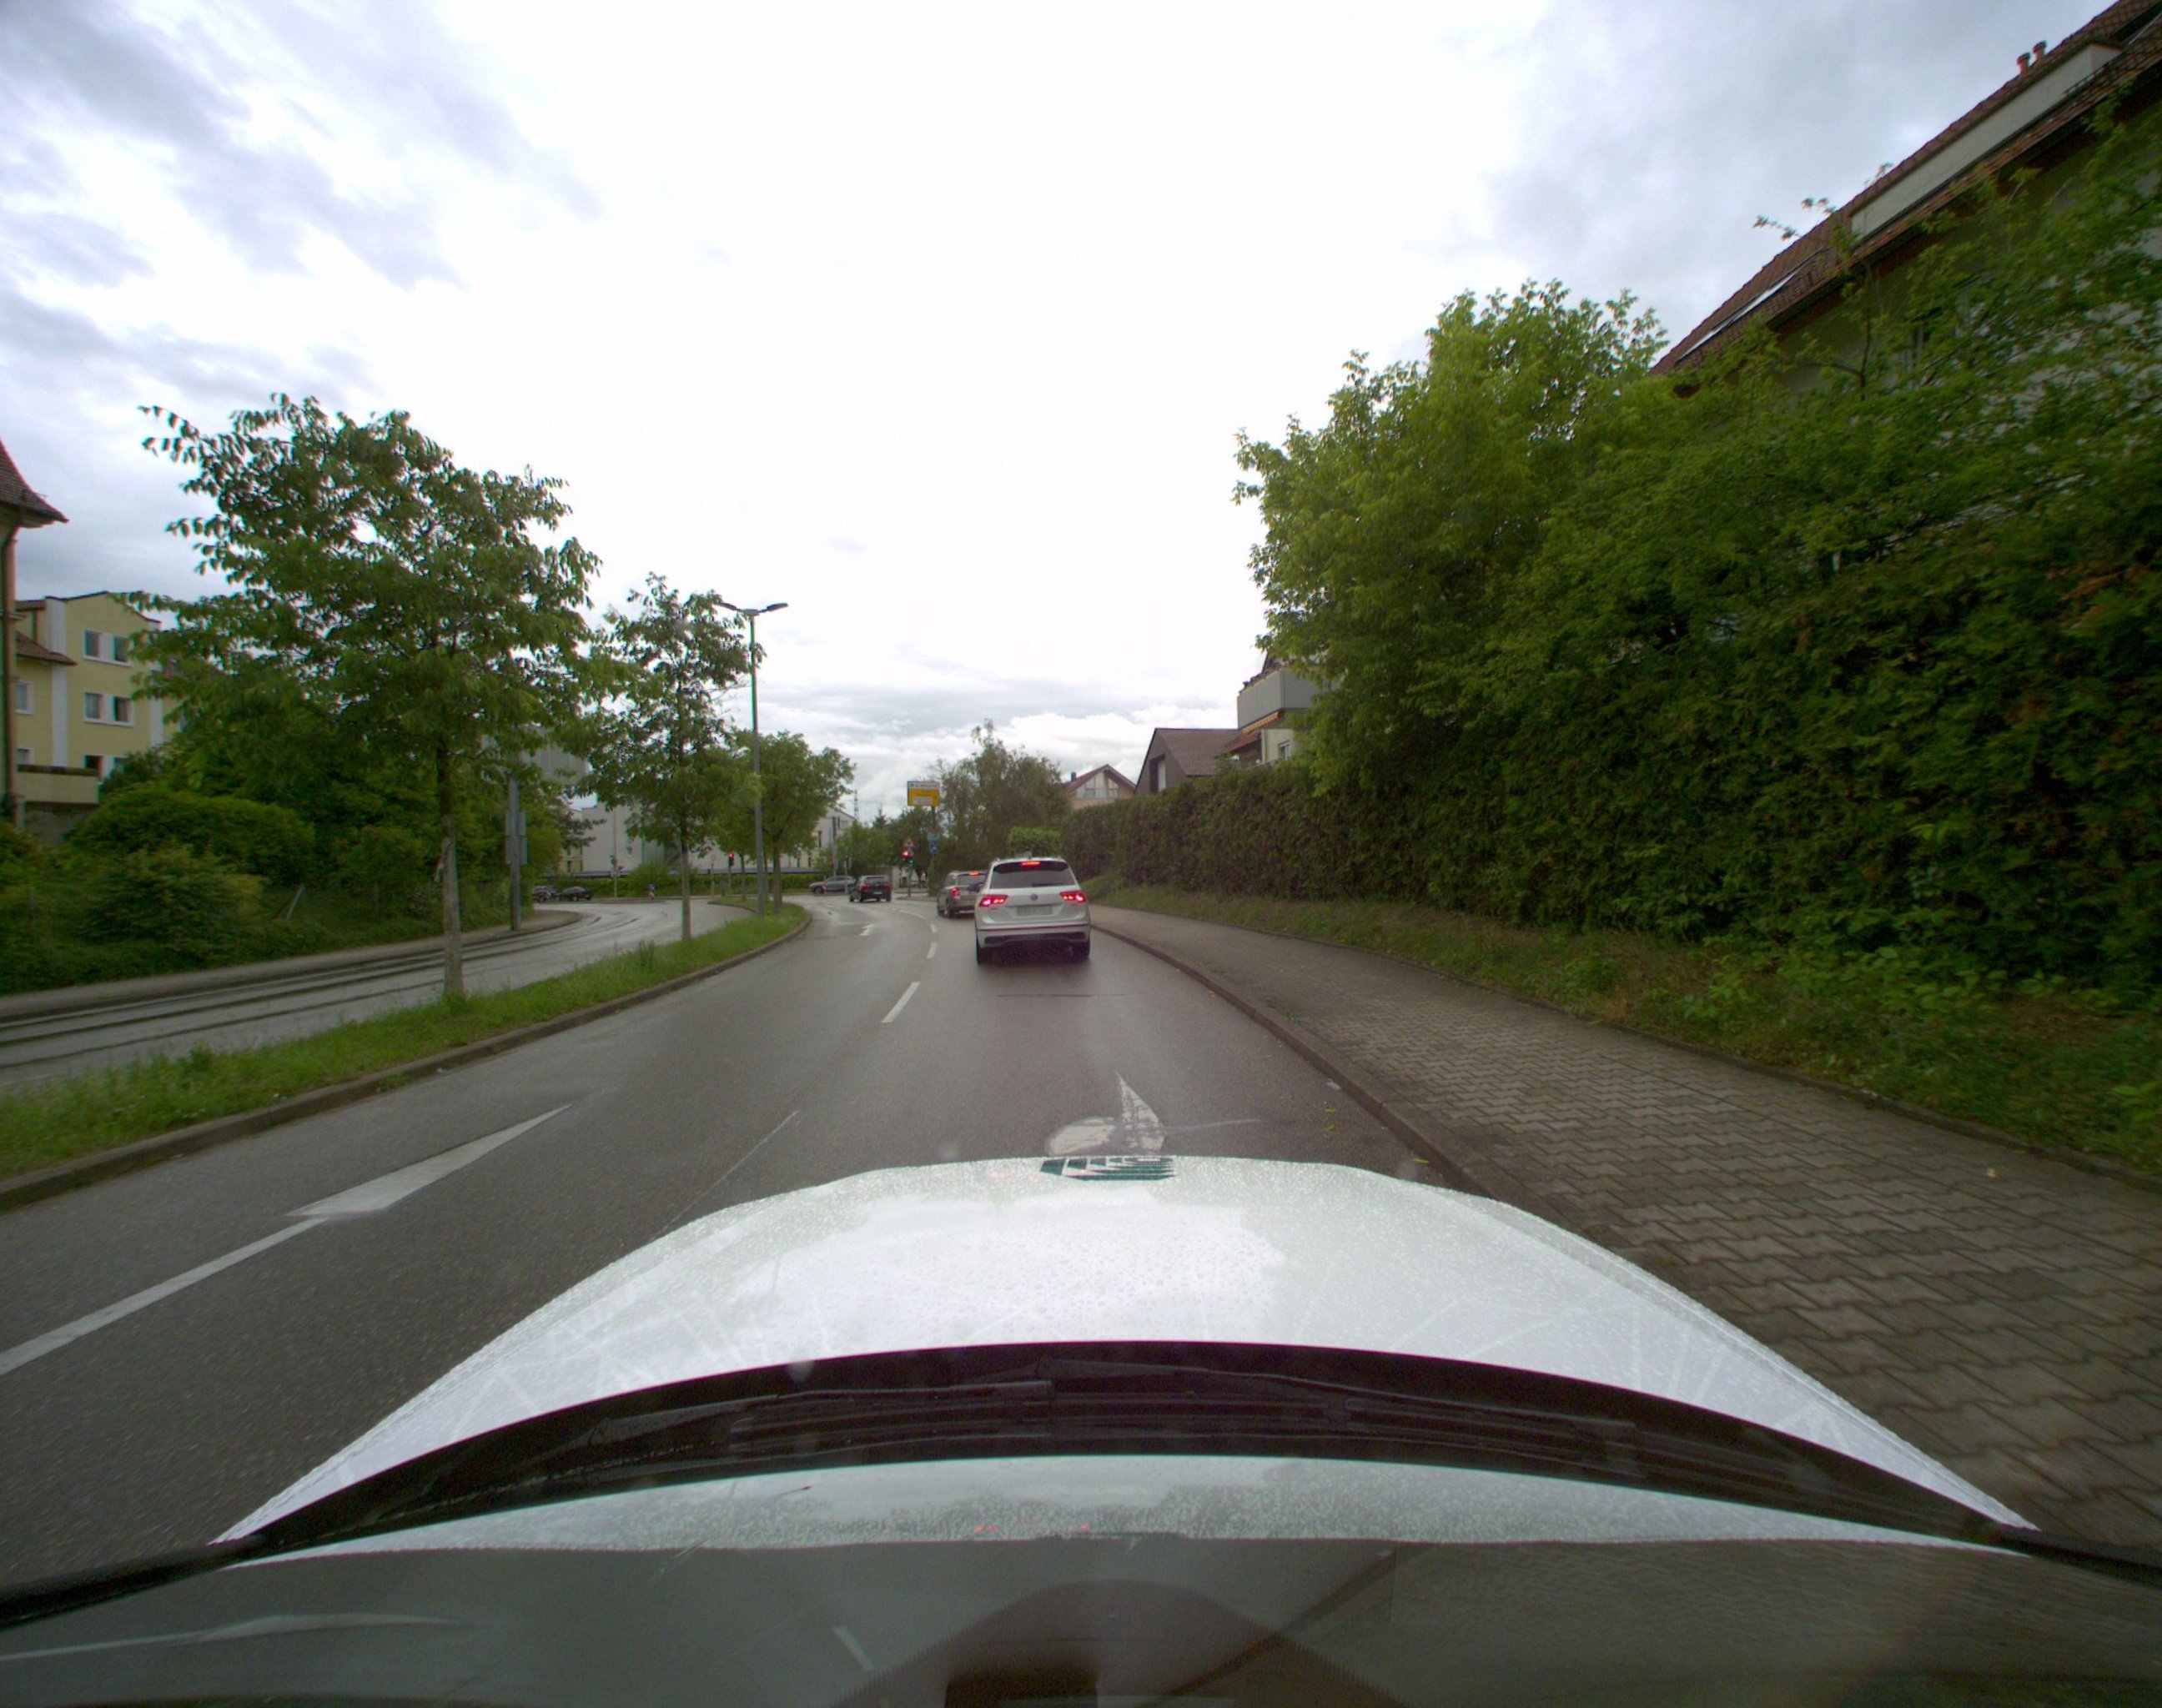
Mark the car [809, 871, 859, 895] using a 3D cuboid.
[{"bbox_3d":[-22.331,2.620,73.724,3.981,2.013,1.977,1,1,-6],"label":"car"}]

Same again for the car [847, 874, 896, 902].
[{"bbox_3d":[-11.911,1.919,46.242,1.861,1.429,3.965,-3,-1,-26],"label":"car"}]

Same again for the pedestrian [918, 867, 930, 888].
[{"bbox_3d":[-15.311,2.299,79.632,0.805,2.013,0.841,-4,1,-33],"label":"pedestrian"}]

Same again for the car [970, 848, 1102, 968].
[{"bbox_3d":[-0.865,0.826,14.290,1.918,1.722,4.256,-2,-1,-6],"label":"car"}]

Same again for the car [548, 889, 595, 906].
[{"bbox_3d":[-51.957,4.437,83.025,3.954,1.555,2.010,-2,0,19],"label":"car"}]

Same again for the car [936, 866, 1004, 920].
[{"bbox_3d":[-3.694,1.207,26.546,1.768,1.510,3.981,1,1,-14],"label":"car"}]
